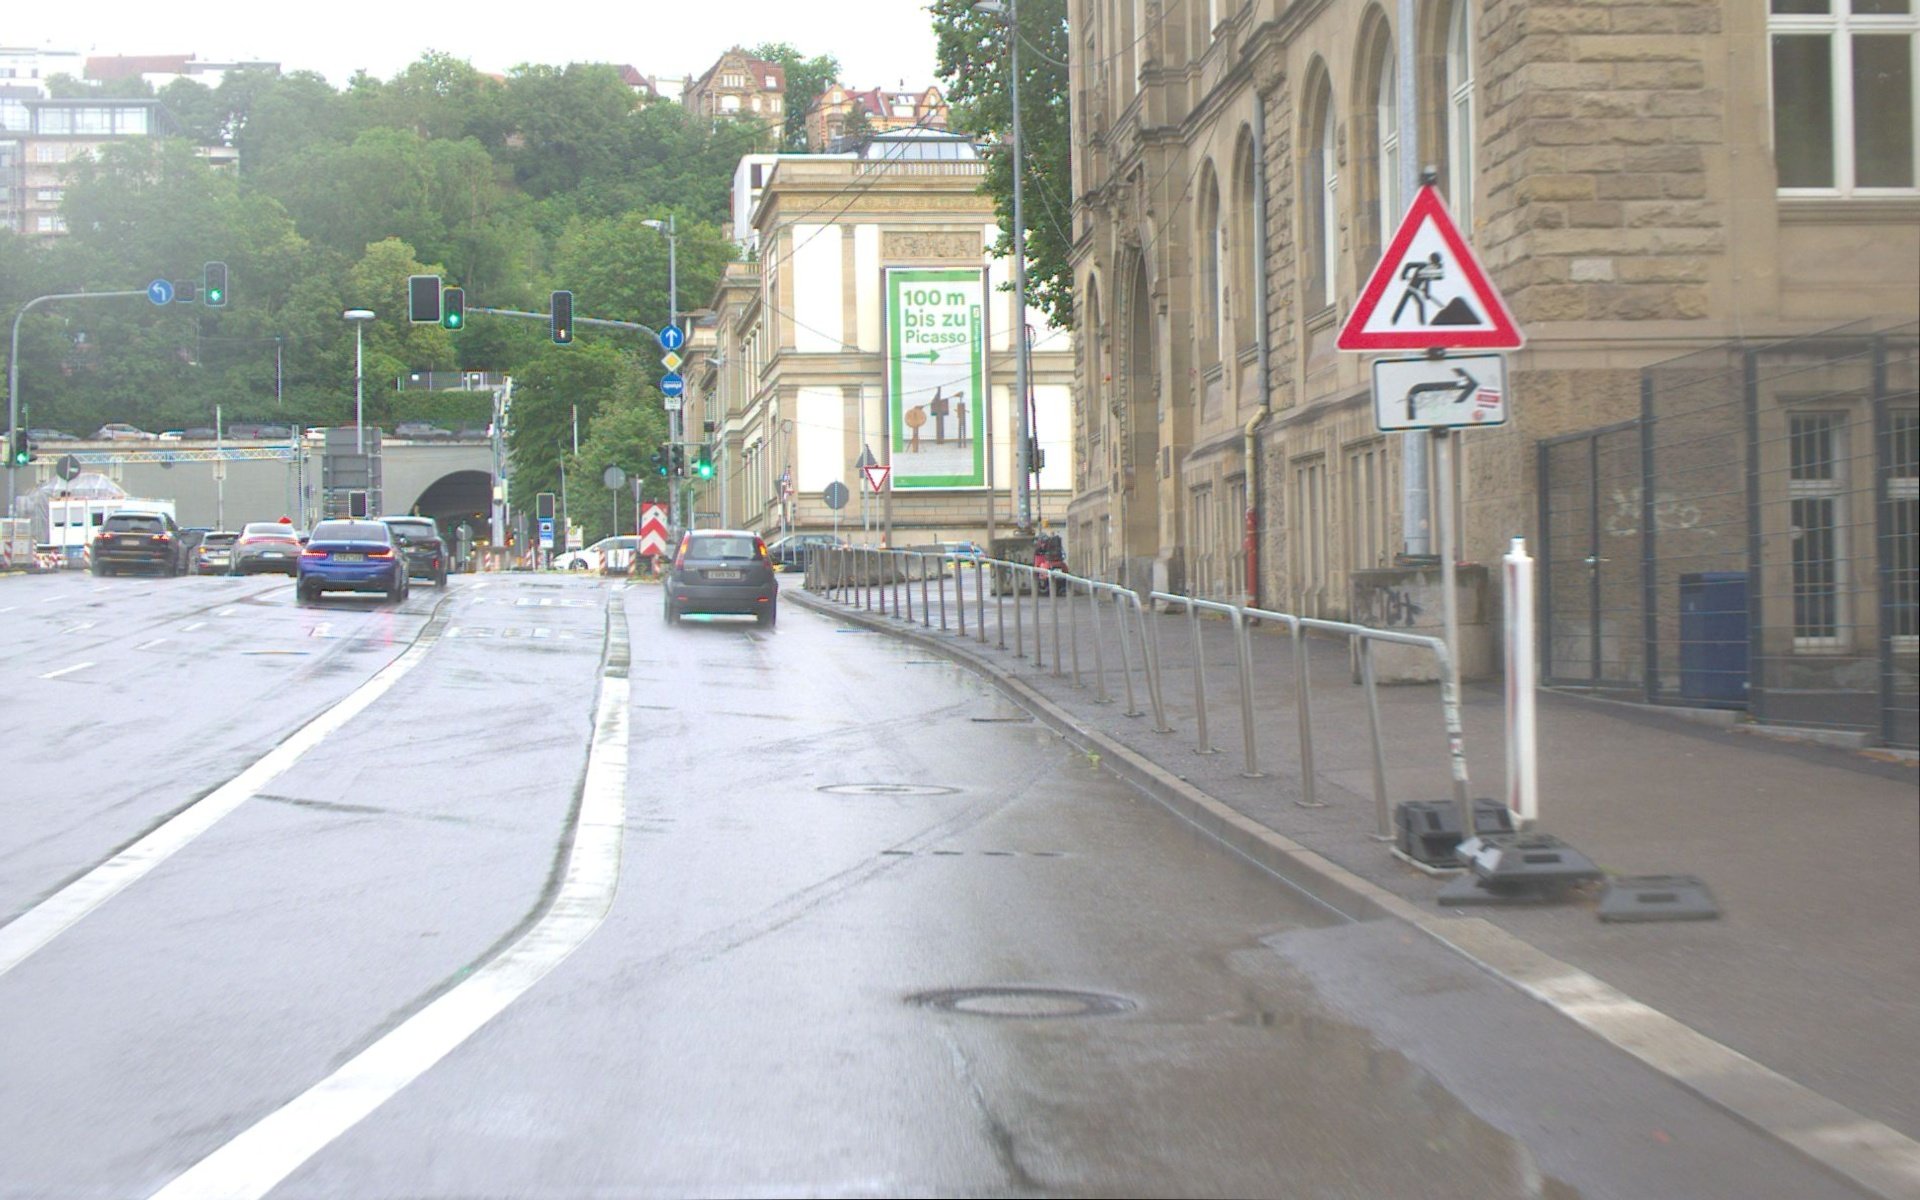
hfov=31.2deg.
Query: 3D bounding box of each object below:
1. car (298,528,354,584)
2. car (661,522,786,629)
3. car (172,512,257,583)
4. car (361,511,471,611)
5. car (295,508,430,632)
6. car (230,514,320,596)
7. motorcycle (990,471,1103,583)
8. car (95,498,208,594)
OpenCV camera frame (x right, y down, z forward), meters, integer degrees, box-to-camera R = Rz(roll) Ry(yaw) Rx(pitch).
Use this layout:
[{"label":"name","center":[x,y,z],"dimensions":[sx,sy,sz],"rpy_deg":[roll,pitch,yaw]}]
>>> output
[{"label":"car","center":[-23.850,-1.647,129.402],"dimensions":[1.993,2.007,4.001],"rpy_deg":[-1,0,-10]},{"label":"car","center":[-3.657,-0.347,53.007],"dimensions":[1.812,1.522,4.000],"rpy_deg":[-2,-1,-4]},{"label":"car","center":[-22.950,-1.606,105.913],"dimensions":[1.993,2.007,4.000],"rpy_deg":[-1,-1,-4]},{"label":"car","center":[-11.727,-0.816,74.294],"dimensions":[1.776,2.007,4.000],"rpy_deg":[-1,-1,-1]},{"label":"car","center":[-10.569,-0.497,61.062],"dimensions":[2.104,2.044,4.000],"rpy_deg":[-1,-1,-7]},{"label":"car","center":[-18.119,-1.173,91.021],"dimensions":[2.051,2.007,4.001],"rpy_deg":[-1,-1,-8]},{"label":"motorcycle","center":[1.570,-1.361,63.616],"dimensions":[1.795,2.007,3.813],"rpy_deg":[-1,1,-3]},{"label":"car","center":[-18.380,-1.203,78.294],"dimensions":[2.016,2.007,4.000],"rpy_deg":[-1,-1,-7]}]
